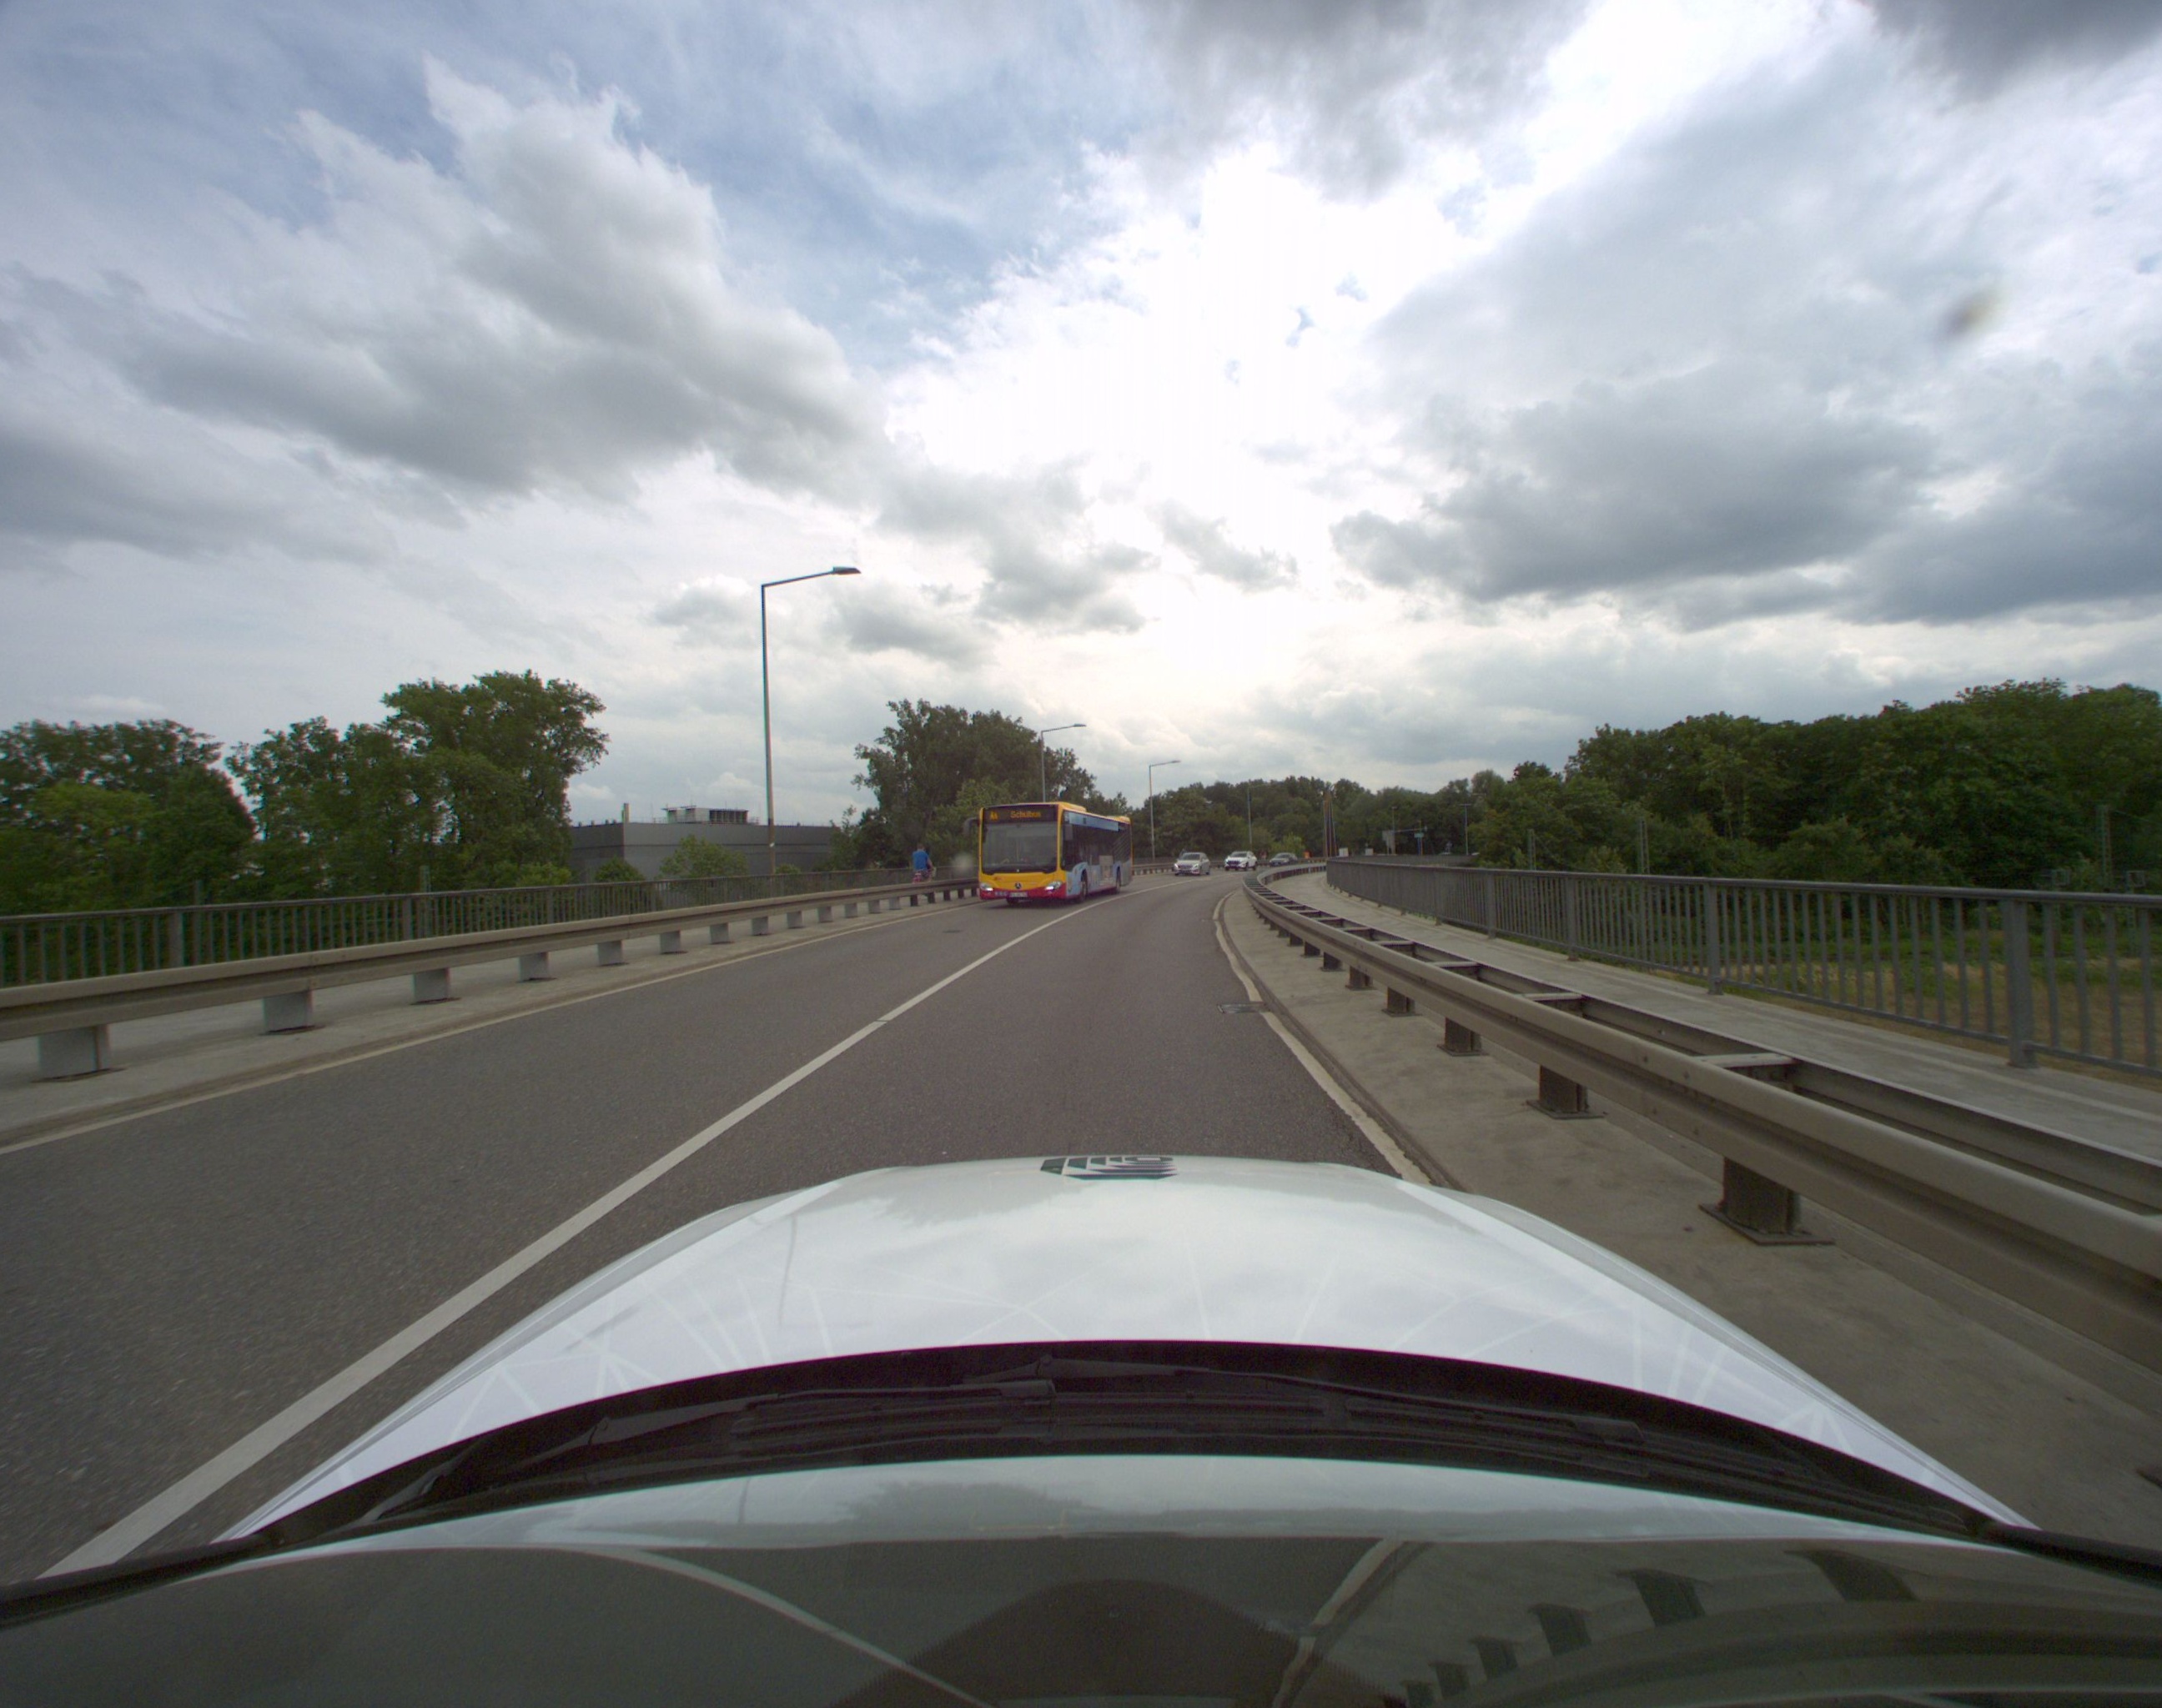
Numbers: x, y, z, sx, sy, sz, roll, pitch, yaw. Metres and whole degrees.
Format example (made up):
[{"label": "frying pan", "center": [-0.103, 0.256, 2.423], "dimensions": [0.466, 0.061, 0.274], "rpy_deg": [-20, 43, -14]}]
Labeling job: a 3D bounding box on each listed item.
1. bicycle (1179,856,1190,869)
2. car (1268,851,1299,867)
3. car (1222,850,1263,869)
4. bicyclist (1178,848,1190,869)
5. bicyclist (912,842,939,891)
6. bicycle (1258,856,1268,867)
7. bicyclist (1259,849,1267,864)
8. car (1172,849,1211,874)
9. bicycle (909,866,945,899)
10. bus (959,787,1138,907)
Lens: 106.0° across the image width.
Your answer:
[{"label": "bicycle", "center": [8.851, 0.741, 69.805], "dimensions": [0.640, 1.067, 1.769], "rpy_deg": [0, -1, 18]}, {"label": "car", "center": [19.636, 0.516, 78.717], "dimensions": [1.791, 1.477, 4.409], "rpy_deg": [0, -1, 29]}, {"label": "car", "center": [13.565, 0.462, 68.241], "dimensions": [1.922, 1.593, 4.803], "rpy_deg": [0, -1, 29]}, {"label": "bicyclist", "center": [8.860, 0.373, 69.849], "dimensions": [0.842, 1.808, 0.800], "rpy_deg": [0, -1, 18]}, {"label": "bicyclist", "center": [-5.044, 0.403, 26.458], "dimensions": [0.606, 1.540, 0.759], "rpy_deg": [0, -1, 11]}, {"label": "bicycle", "center": [19.681, 0.809, 88.031], "dimensions": [0.629, 1.174, 1.917], "rpy_deg": [0, -1, 25]}, {"label": "bicyclist", "center": [19.660, 0.289, 88.020], "dimensions": [0.764, 1.631, 0.653], "rpy_deg": [-1, -2, 28]}, {"label": "car", "center": [7.628, 0.531, 55.814], "dimensions": [1.803, 1.620, 4.419], "rpy_deg": [0, -1, 19]}, {"label": "bicycle", "center": [-5.008, 0.912, 26.574], "dimensions": [0.489, 1.045, 1.815], "rpy_deg": [0, -1, 11]}, {"label": "bus", "center": [-0.486, -0.150, 28.612], "dimensions": [3.011, 3.233, 12.995], "rpy_deg": [0, 0, 13]}]
